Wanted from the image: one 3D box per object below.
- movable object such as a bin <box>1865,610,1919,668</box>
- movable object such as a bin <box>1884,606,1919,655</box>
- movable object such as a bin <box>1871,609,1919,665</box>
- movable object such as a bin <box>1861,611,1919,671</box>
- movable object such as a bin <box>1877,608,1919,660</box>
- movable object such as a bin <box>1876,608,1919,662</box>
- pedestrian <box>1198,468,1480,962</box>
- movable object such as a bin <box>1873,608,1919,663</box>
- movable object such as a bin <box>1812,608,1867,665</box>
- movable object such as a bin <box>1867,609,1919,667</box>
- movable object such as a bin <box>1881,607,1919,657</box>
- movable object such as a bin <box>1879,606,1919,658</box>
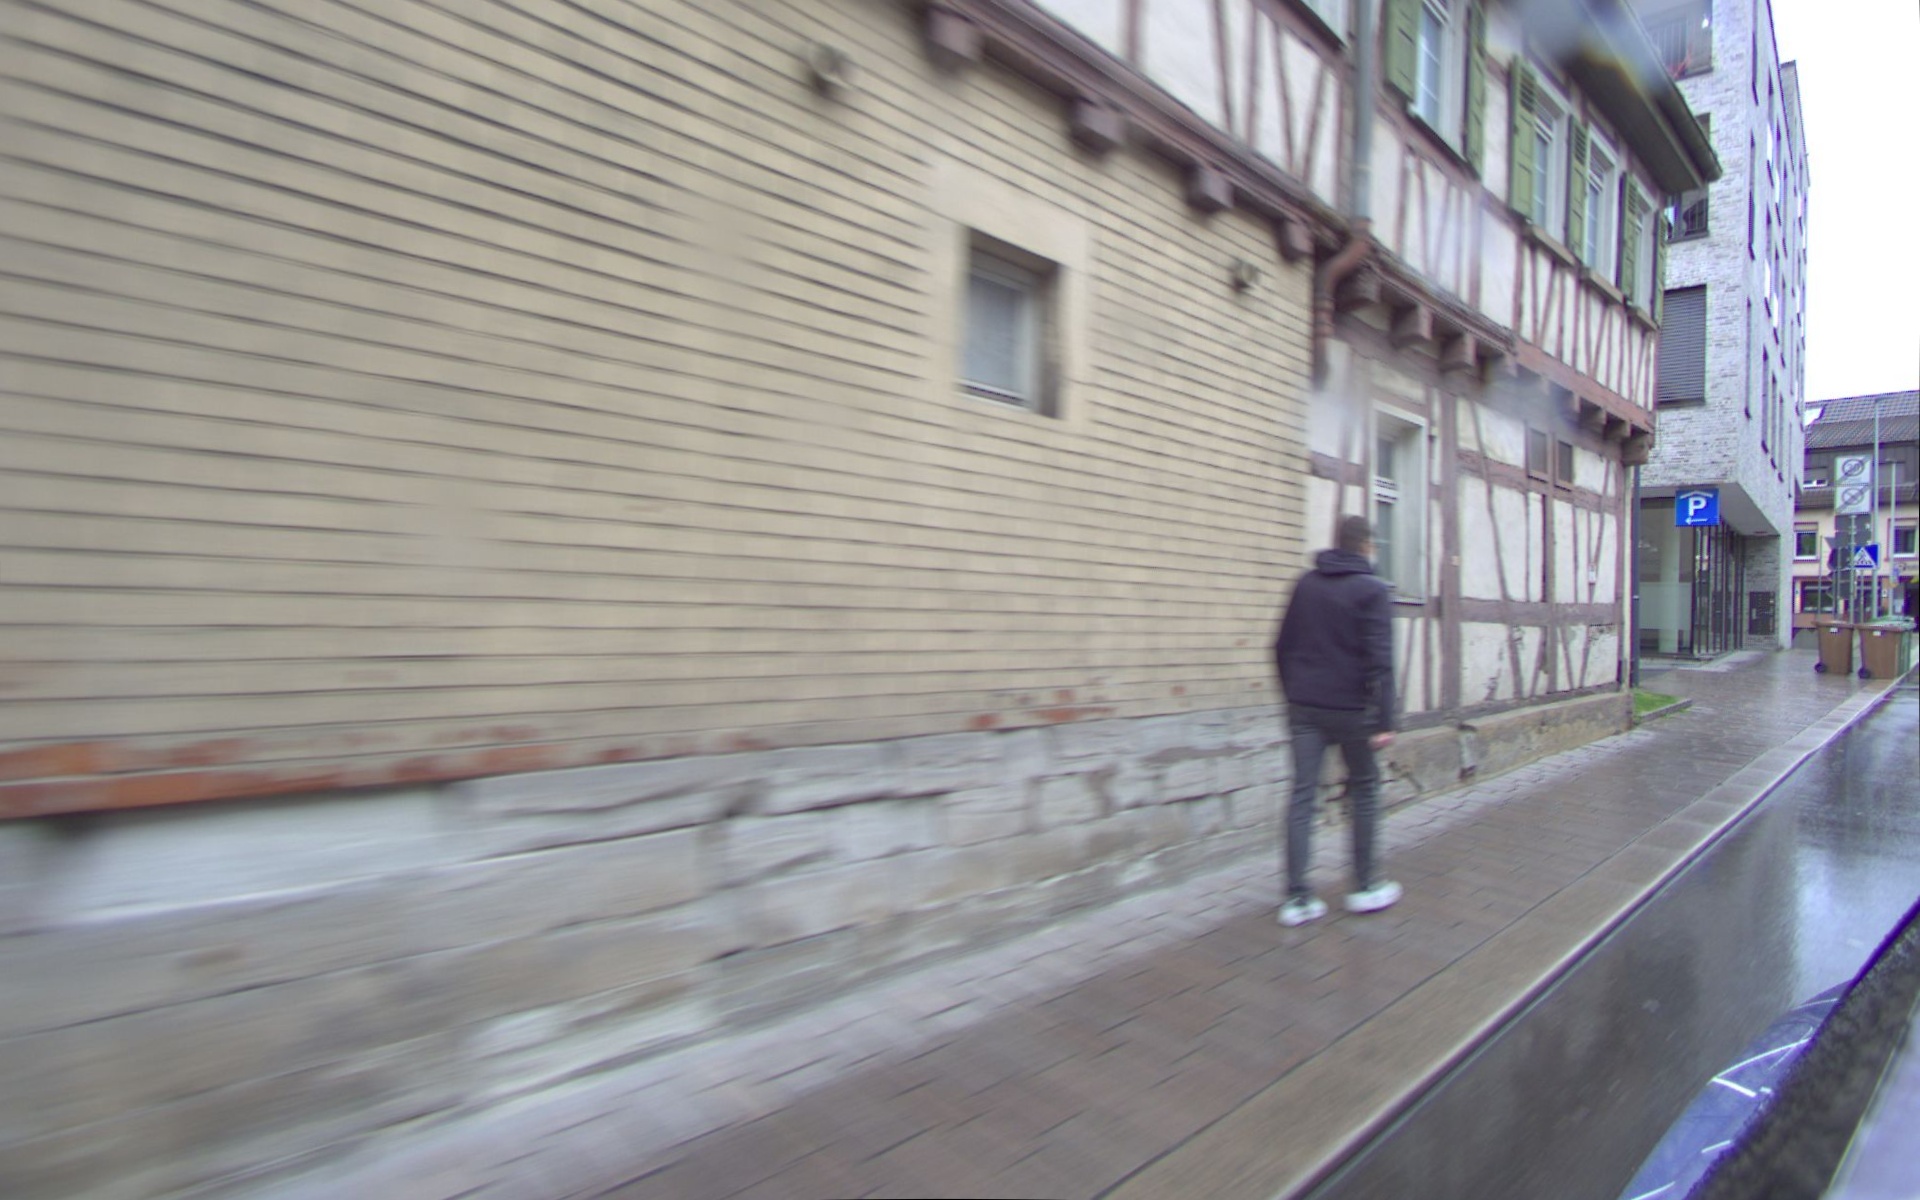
[{"bbox_3d":[18.718,0.772,20.314,0.571,1.109,0.766,0,2,-44],"label":"movable object such as a bin"},{"bbox_3d":[22.484,0.712,24.102,0.663,1.109,0.542,3,2,45],"label":"movable object such as a bin"},{"bbox_3d":[19.588,0.754,21.131,0.571,1.109,0.766,0,2,-44],"label":"movable object such as a bin"},{"bbox_3d":[18.177,0.787,19.780,0.571,1.109,0.766,0,2,-44],"label":"movable object such as a bin"},{"bbox_3d":[20.845,0.745,22.383,0.571,1.109,0.766,0,2,-44],"label":"movable object such as a bin"},{"bbox_3d":[20.433,0.753,21.960,0.571,1.109,0.766,0,2,-44],"label":"movable object such as a bin"},{"bbox_3d":[1.689,0.429,4.504,0.810,1.908,0.893,4,2,44],"label":"pedestrian"},{"bbox_3d":[20.001,0.749,21.544,0.571,1.109,0.766,0,2,-44],"label":"movable object such as a bin"},{"bbox_3d":[17.992,0.729,20.708,0.616,1.109,0.766,0,2,-44],"label":"movable object such as a bin"},{"bbox_3d":[19.133,0.765,20.724,0.571,1.109,0.766,0,2,-44],"label":"movable object such as a bin"},{"bbox_3d":[21.682,0.723,23.202,0.571,1.109,0.766,0,2,-44],"label":"movable object such as a bin"},{"bbox_3d":[21.253,0.719,22.792,0.571,1.109,0.766,0,2,-44],"label":"movable object such as a bin"}]
